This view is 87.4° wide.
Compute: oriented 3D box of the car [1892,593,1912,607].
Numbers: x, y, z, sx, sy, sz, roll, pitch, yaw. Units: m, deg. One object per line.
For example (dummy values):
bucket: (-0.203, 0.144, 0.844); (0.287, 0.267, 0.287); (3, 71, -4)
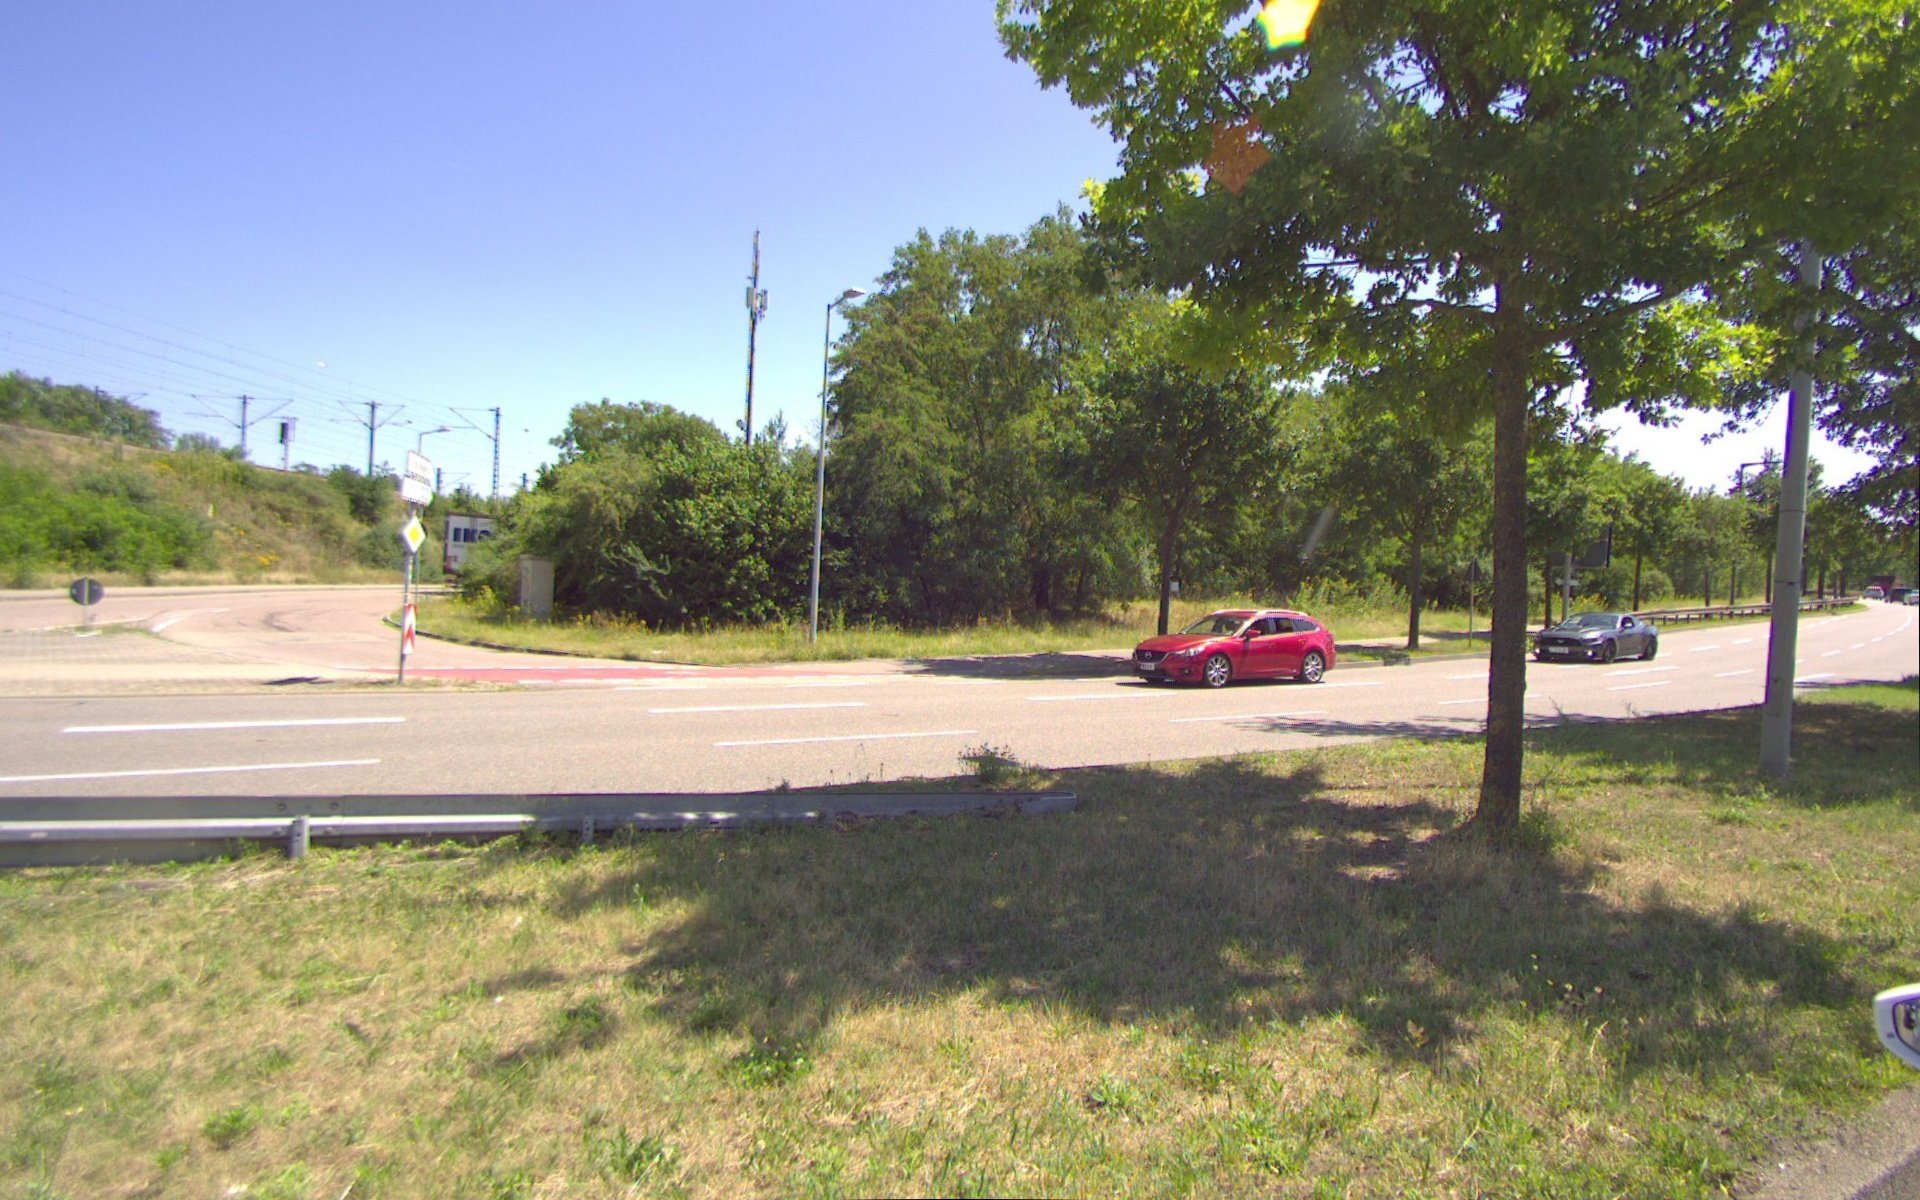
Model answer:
car: (93.875, 0.000, 100.107); (1.402, 1.331, 3.318); (2, 0, 43)

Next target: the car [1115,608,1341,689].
car: (5.385, 0.952, 20.009); (4.476, 1.456, 1.821); (2, -2, -32)

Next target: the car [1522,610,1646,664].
car: (17.809, 1.035, 28.593); (4.535, 1.351, 1.793); (2, 0, -42)

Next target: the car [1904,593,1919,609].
car: (85.645, 0.076, 89.971); (1.440, 1.331, 3.618); (2, 0, 42)

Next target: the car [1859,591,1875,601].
car: (108.452, -0.473, 120.118); (1.307, 1.154, 2.979); (2, 0, 42)
